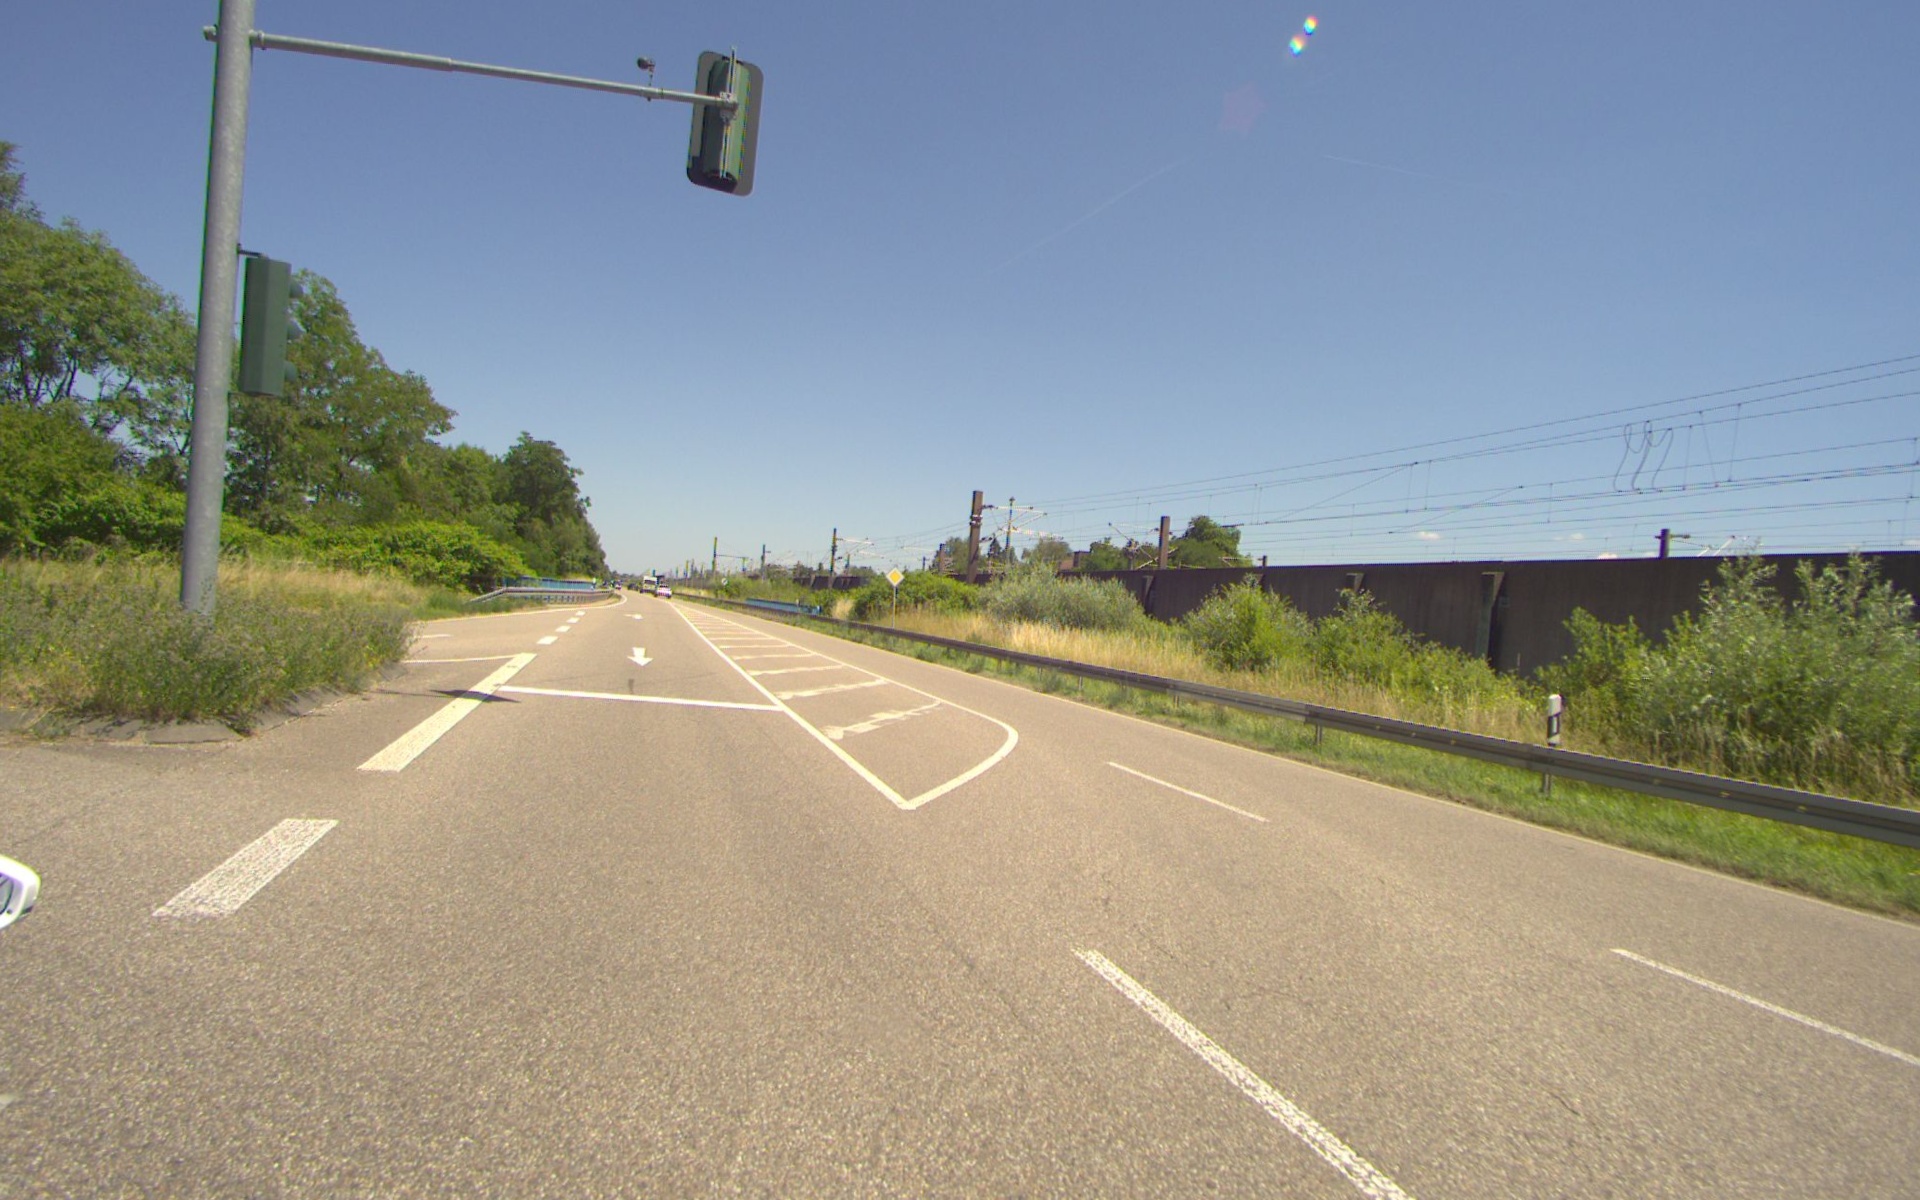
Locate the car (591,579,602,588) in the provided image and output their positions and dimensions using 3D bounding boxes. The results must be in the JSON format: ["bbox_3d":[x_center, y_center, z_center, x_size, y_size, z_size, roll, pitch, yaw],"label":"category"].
[{"bbox_3d":[-69.453,-3.182,192.129,1.836,1.396,4.484,7,-1,-20],"label":"car"}]

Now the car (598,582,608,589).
[{"bbox_3d":[-77.429,-3.137,218.189,1.836,1.396,4.484,7,-1,-20],"label":"car"}]

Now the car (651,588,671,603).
[{"bbox_3d":[-35.118,-0.529,118.253,1.798,1.583,4.259,6,-1,-21],"label":"car"}]

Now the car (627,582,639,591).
[{"bbox_3d":[-60.787,-2.587,186.781,1.836,1.396,4.483,7,-1,-20],"label":"car"}]

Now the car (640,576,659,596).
[{"bbox_3d":[-45.818,-2.083,148.289,2.164,2.635,6.723,7,-1,-19],"label":"car"}]

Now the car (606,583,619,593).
[{"bbox_3d":[-56.924,-2.012,164.884,1.836,1.396,4.484,7,-1,-20],"label":"car"}]
